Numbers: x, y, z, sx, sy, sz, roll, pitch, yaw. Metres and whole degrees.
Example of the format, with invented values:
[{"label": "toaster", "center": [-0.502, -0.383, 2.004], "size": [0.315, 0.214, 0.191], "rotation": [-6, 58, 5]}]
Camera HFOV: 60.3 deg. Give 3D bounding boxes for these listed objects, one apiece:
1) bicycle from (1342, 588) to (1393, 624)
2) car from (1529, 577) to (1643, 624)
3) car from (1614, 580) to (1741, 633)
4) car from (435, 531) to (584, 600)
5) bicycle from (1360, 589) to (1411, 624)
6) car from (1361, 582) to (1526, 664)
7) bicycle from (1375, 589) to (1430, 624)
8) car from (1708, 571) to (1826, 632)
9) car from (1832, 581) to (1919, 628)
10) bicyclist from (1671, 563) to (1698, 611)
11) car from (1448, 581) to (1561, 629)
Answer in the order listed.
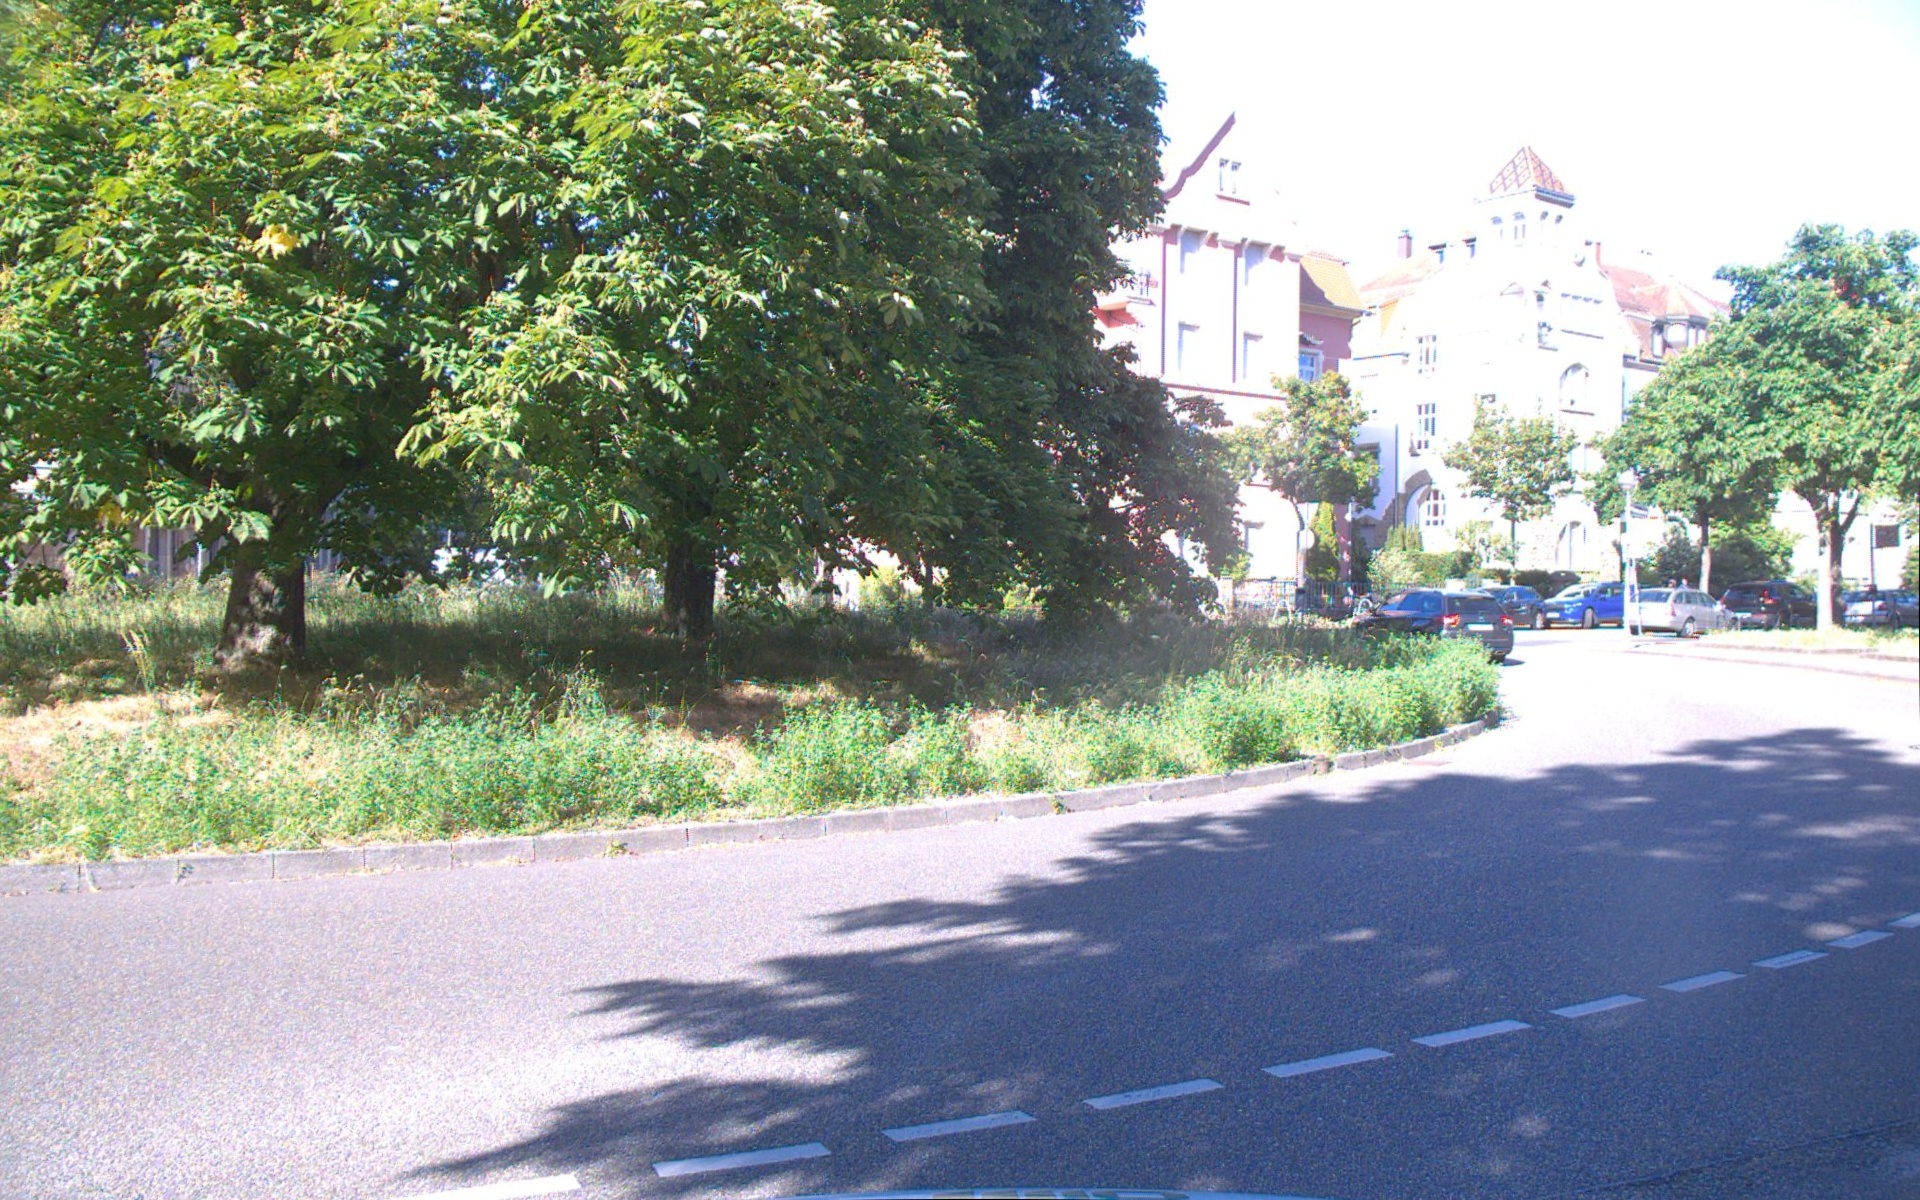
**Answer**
[{"label": "bicycle", "center": [13.895, 0.198, 56.449], "size": [0.540, 1.134, 1.705], "rotation": [0, 2, -36]}, {"label": "car", "center": [22.306, -0.005, 58.891], "size": [4.354, 1.589, 1.785], "rotation": [-1, -1, -38]}, {"label": "car", "center": [20.909, 0.160, 48.102], "size": [4.302, 1.440, 1.782], "rotation": [0, 1, -42]}, {"label": "car", "center": [-18.270, -1.421, 66.991], "size": [6.241, 2.645, 2.098], "rotation": [2, 0, 32]}, {"label": "bicycle", "center": [14.659, 0.214, 57.002], "size": [0.540, 1.134, 1.705], "rotation": [0, 2, -36]}, {"label": "car", "center": [9.764, 0.415, 33.701], "size": [1.788, 1.559, 3.994], "rotation": [0, 1, -7]}, {"label": "bicycle", "center": [15.348, 0.213, 57.410], "size": [1.795, 1.126, 0.499], "rotation": [3, 2, 38]}, {"label": "car", "center": [24.805, 0.026, 50.796], "size": [4.302, 1.758, 1.782], "rotation": [0, 1, -42]}, {"label": "car", "center": [31.345, 0.145, 55.638], "size": [4.287, 1.499, 1.788], "rotation": [0, 1, -35]}, {"label": "bicyclist", "center": [26.256, -0.472, 59.920], "size": [0.715, 1.744, 0.637], "rotation": [1, -1, -37]}, {"label": "car", "center": [18.524, 0.162, 56.180], "size": [4.303, 1.509, 1.781], "rotation": [0, -2, -43]}]
